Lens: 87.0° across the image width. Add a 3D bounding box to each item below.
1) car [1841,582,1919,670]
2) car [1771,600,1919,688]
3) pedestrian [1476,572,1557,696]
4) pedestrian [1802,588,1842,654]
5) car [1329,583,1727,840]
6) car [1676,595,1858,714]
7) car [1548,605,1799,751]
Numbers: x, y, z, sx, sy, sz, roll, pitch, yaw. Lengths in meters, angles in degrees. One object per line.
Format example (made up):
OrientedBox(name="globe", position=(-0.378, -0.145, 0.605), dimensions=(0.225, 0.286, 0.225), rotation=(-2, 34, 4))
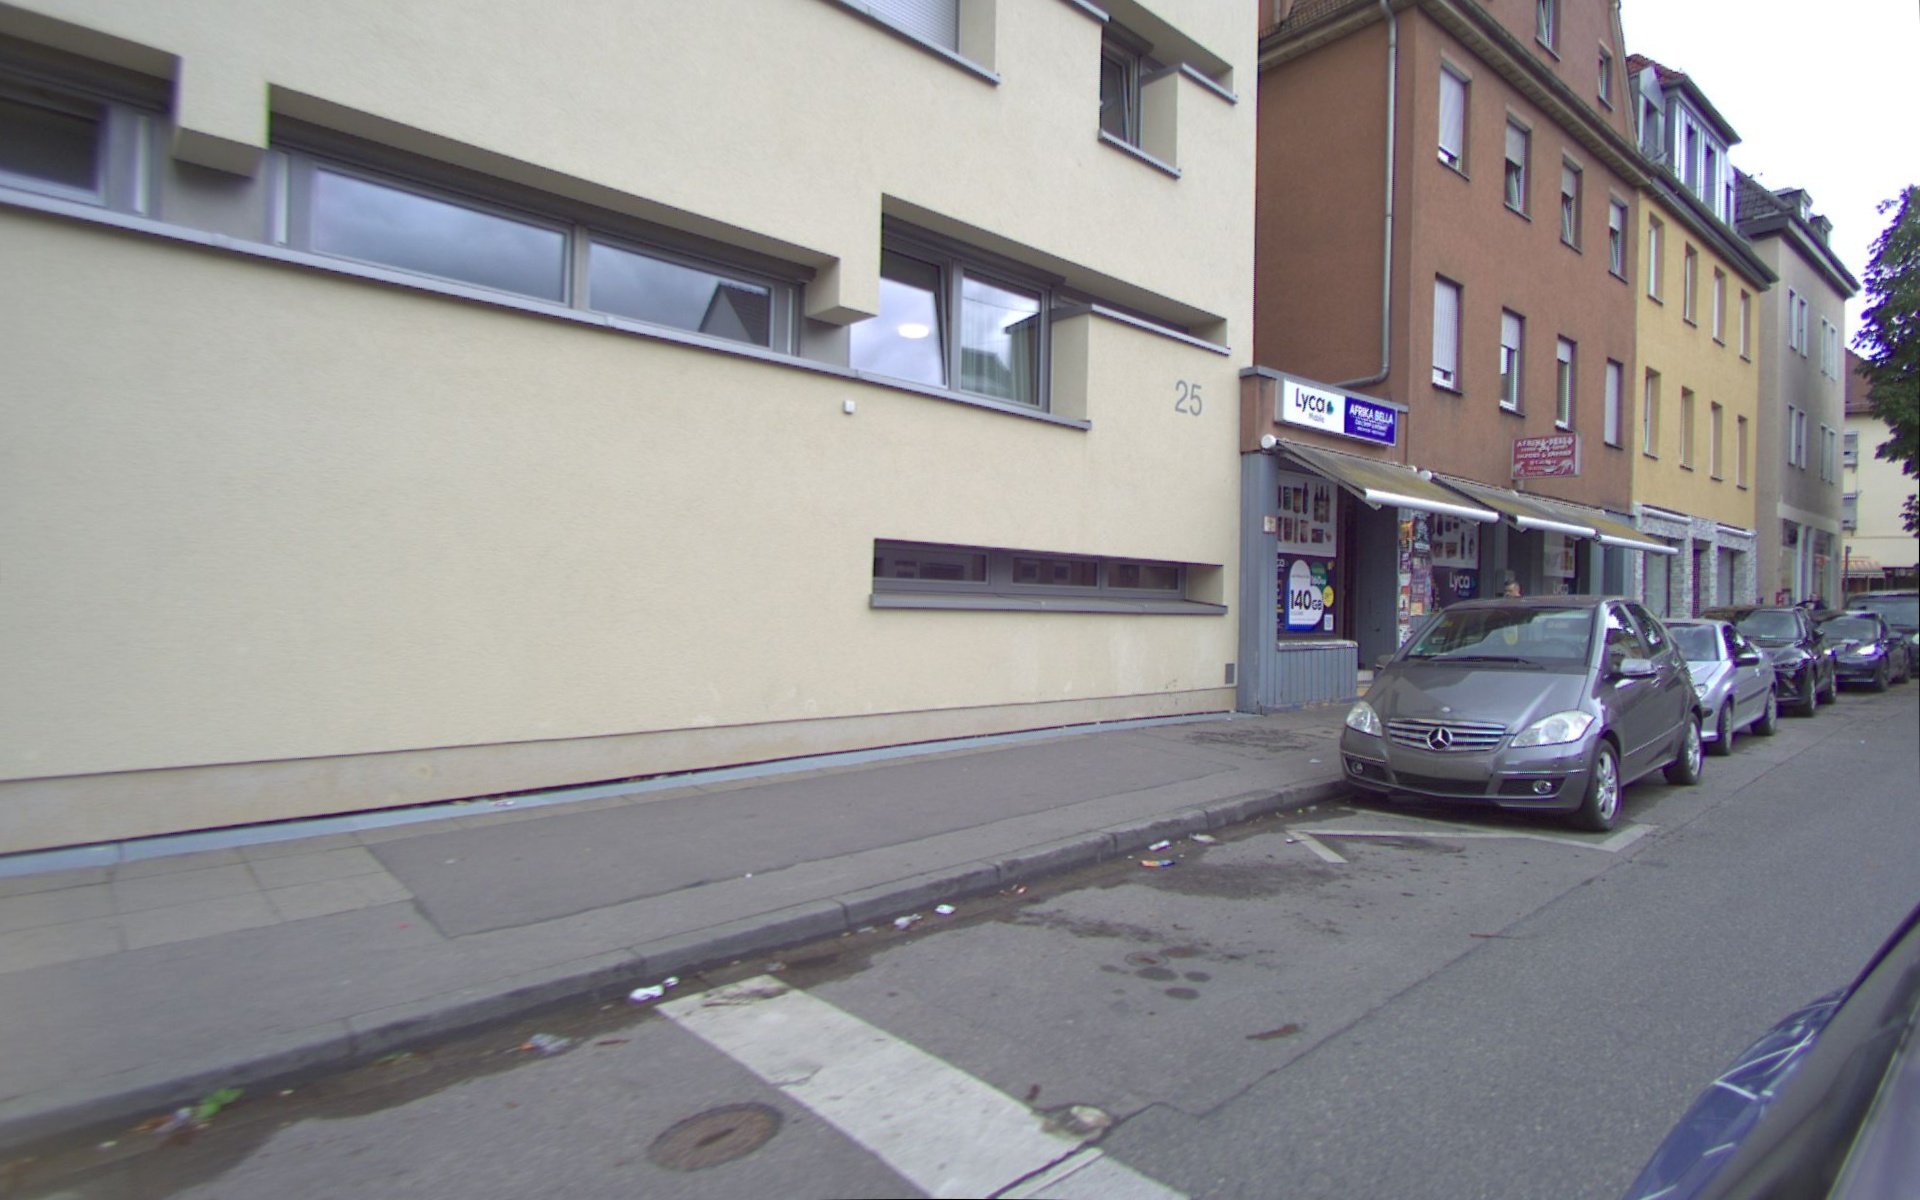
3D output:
OrientedBox(name="car", position=(20.968, 0.516, 22.362), dimensions=(4.328, 1.803, 1.821), rotation=(0, 0, -43))
OrientedBox(name="car", position=(16.972, 0.741, 19.117), dimensions=(4.431, 1.423, 1.754), rotation=(0, 1, -40))
OrientedBox(name="pedestrian", position=(7.806, 0.453, 14.200), dimensions=(0.873, 1.670, 0.702), rotation=(1, 1, -42))
OrientedBox(name="pedestrian", position=(22.572, 0.529, 26.499), dimensions=(0.965, 1.673, 0.615), rotation=(1, 1, -42))
OrientedBox(name="car", position=(4.678, 0.676, 8.116), dimensions=(3.721, 1.580, 1.714), rotation=(0, 0, -42))
OrientedBox(name="car", position=(12.124, 0.700, 15.115), dimensions=(4.139, 1.538, 1.603), rotation=(0, 0, -44))
OrientedBox(name="car", position=(8.161, 0.749, 11.454), dimensions=(3.747, 1.350, 1.553), rotation=(0, 0, -42))
